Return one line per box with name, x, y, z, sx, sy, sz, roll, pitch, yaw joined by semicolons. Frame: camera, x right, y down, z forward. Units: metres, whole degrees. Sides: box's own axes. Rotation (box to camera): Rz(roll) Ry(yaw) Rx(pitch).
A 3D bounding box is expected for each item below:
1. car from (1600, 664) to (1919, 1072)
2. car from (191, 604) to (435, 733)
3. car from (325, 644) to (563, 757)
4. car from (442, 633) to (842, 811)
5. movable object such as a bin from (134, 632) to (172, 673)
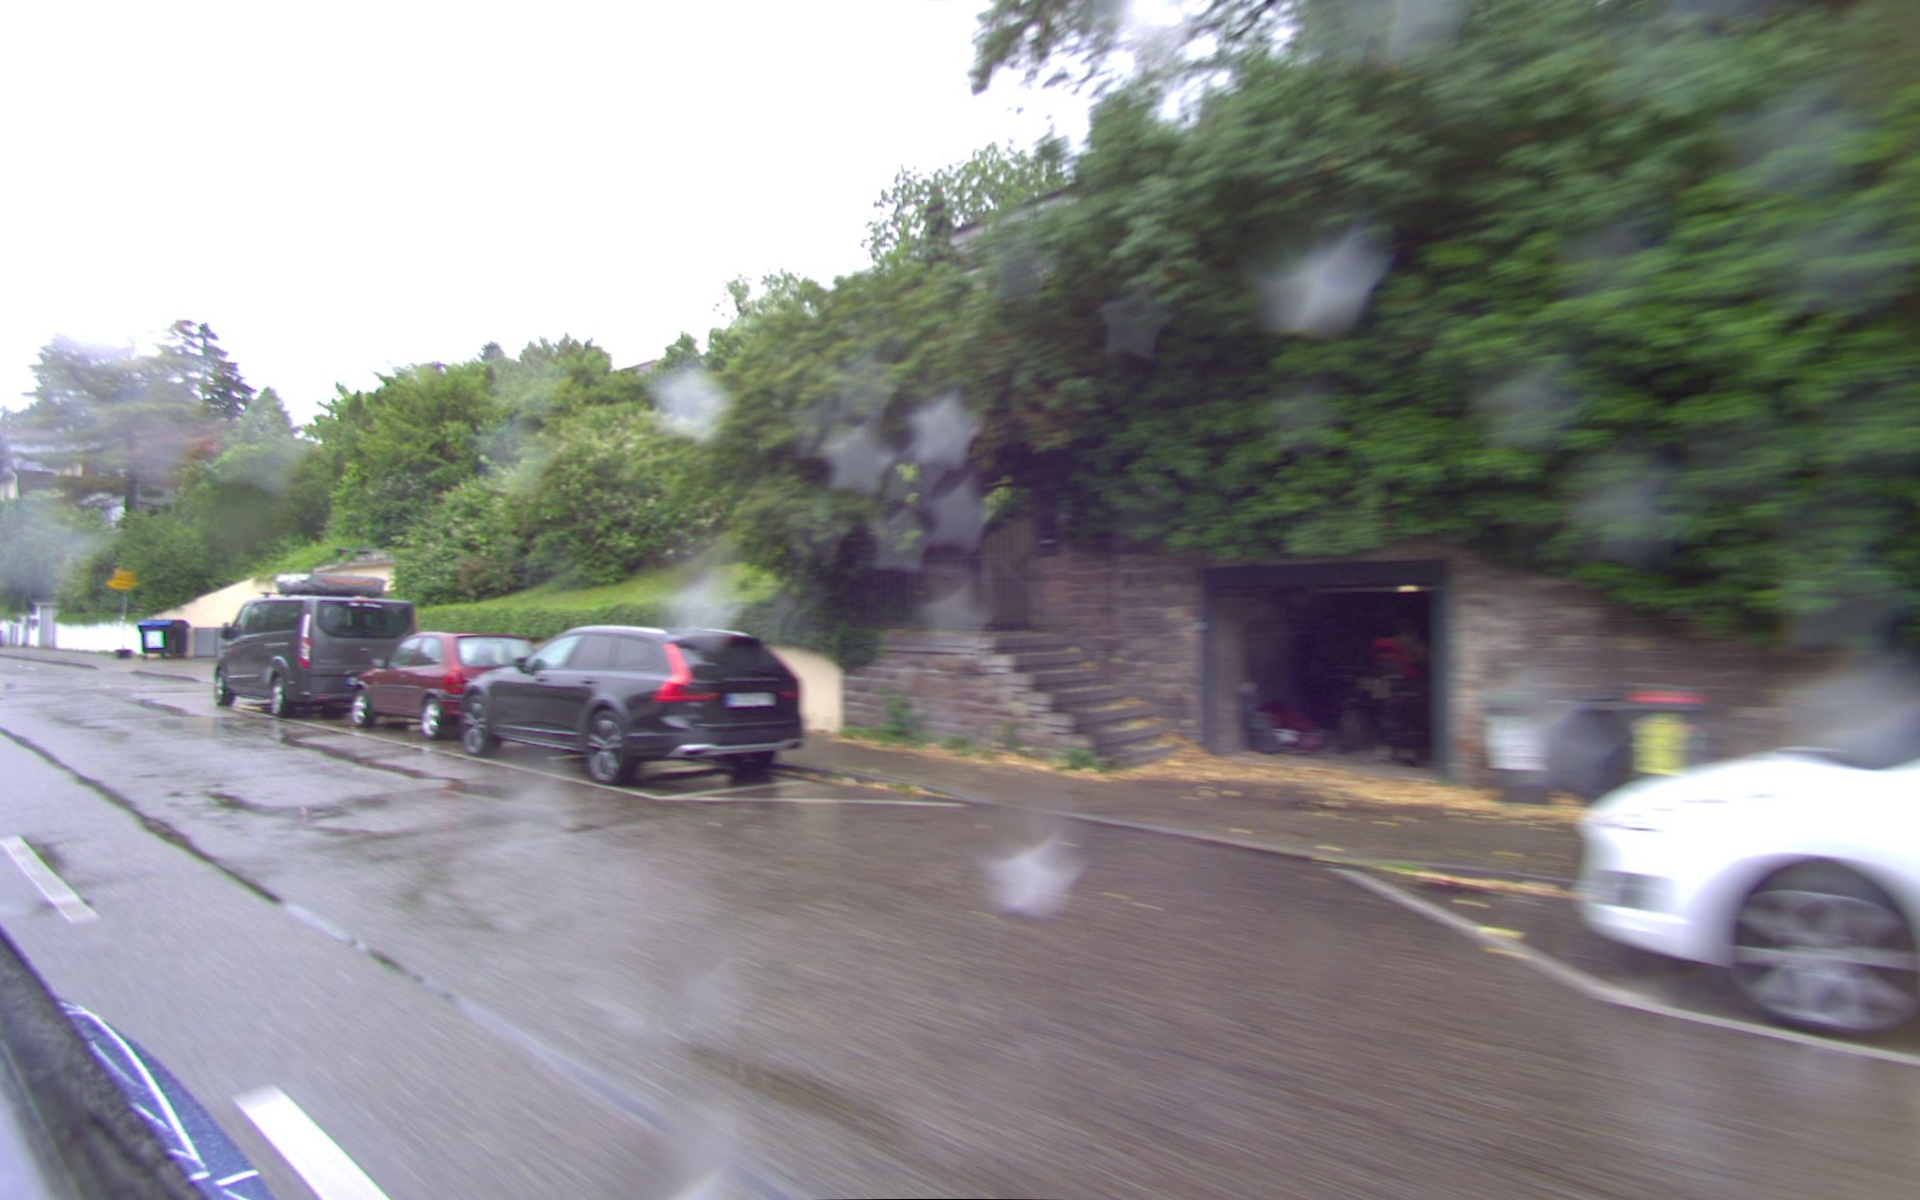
car;4.683;0.932;3.398;4.079;1.376;1.699;-3;-7;39
car;-11.468;1.152;17.782;5.320;1.933;2.136;-2;-4;41
car;-7.425;1.351;14.426;3.904;1.375;1.548;-2;-5;40
car;-3.576;1.164;10.855;4.754;1.492;1.888;-2;-6;42
movable object such as a bin;-29.972;1.946;37.582;0.860;1.456;0.924;0;1;37
